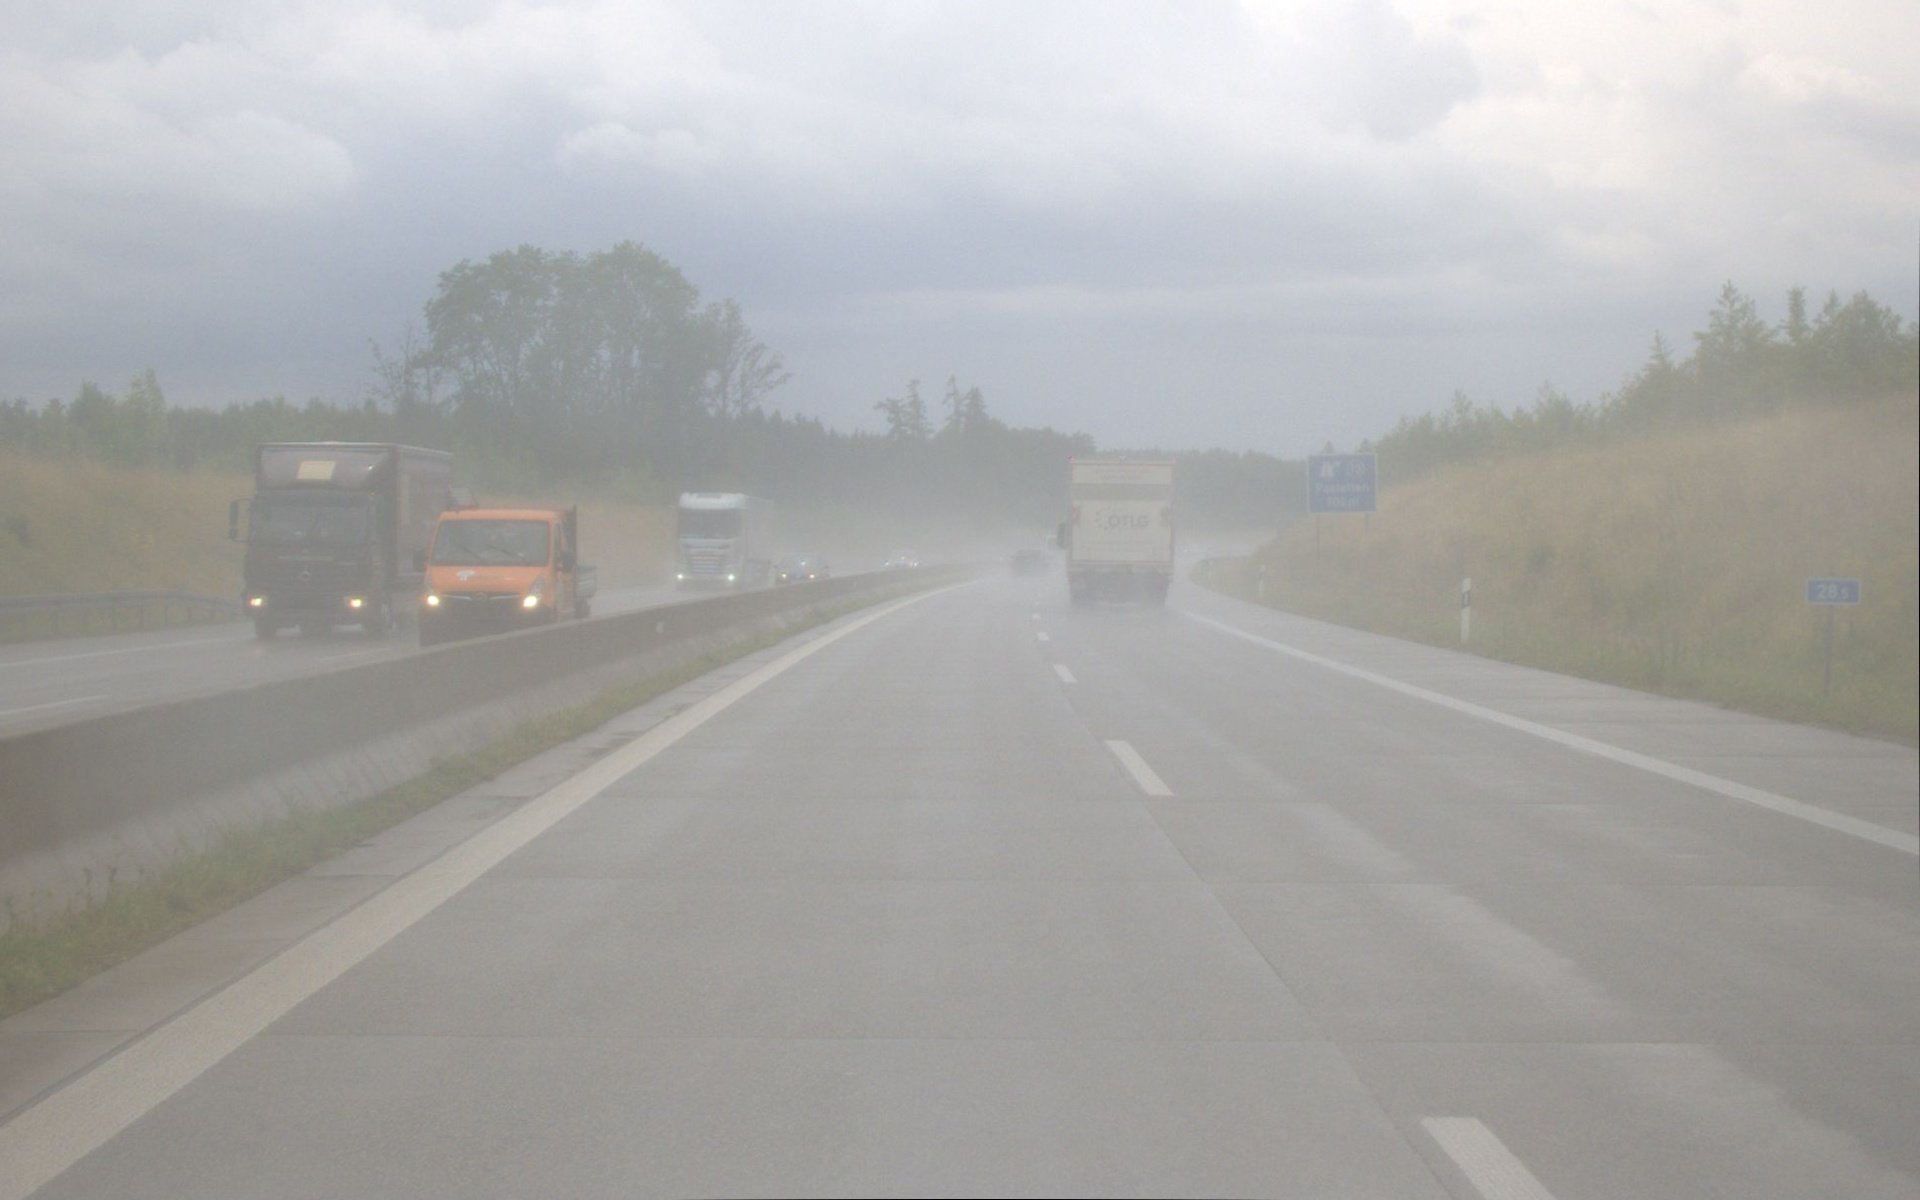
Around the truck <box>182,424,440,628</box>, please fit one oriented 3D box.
[{"bbox_3d":[-11.834,-1.353,63.553,3.168,3.521,8.365,0,1,0],"label":"truck"}]

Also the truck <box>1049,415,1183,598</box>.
[{"bbox_3d":[3.937,-2.408,87.621,3.244,4.421,8.246,0,2,2],"label":"truck"}]

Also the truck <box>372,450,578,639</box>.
[{"bbox_3d":[-7.471,-0.869,53.623,2.332,2.772,6.161,0,1,0],"label":"truck"}]
